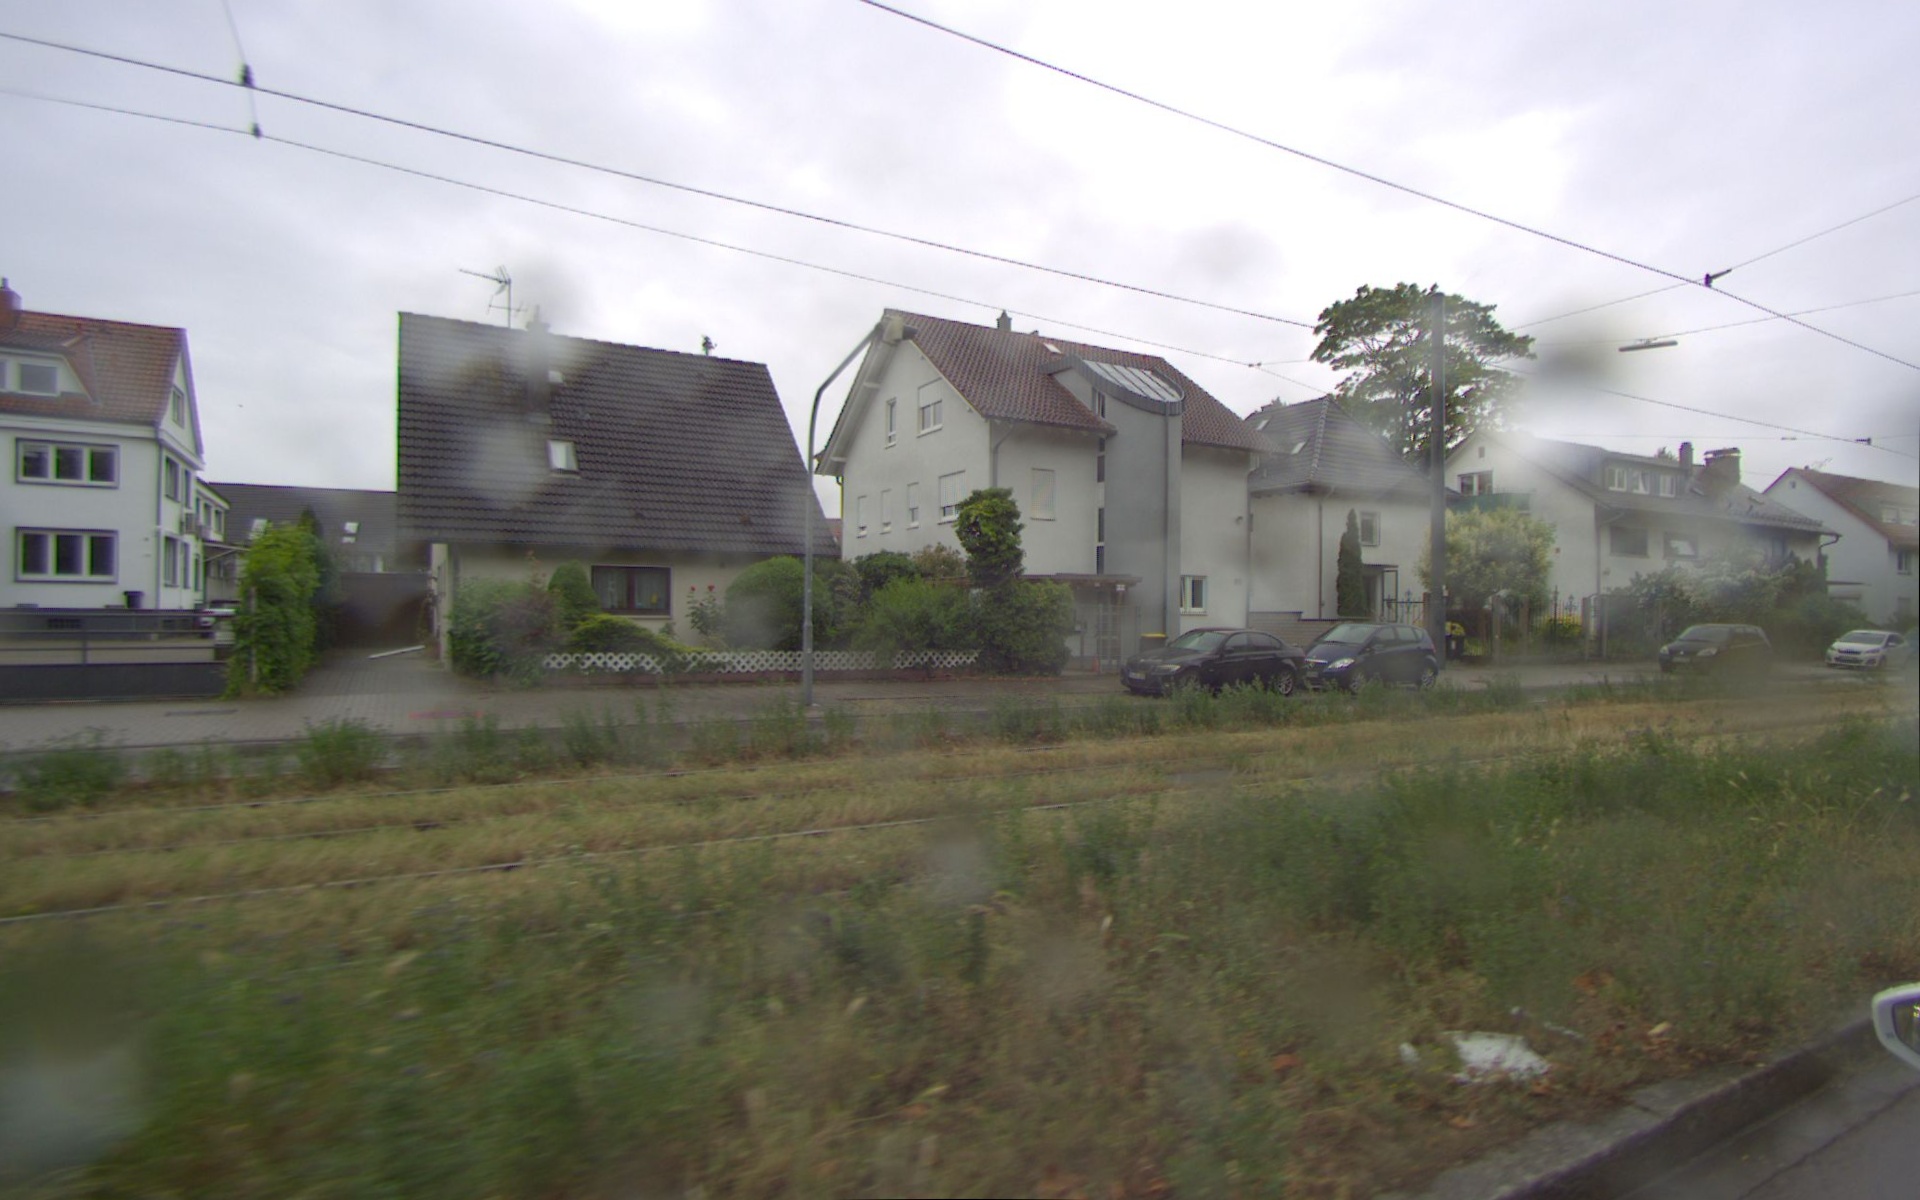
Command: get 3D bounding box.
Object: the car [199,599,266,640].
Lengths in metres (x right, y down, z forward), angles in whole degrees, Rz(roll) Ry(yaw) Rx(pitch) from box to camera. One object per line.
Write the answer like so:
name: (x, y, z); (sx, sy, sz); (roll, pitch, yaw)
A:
car: (-29.341, 0.781, 40.601); (1.940, 1.572, 3.964); (1, -1, -33)

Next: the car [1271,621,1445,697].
car: (9.423, 1.333, 23.764); (3.825, 1.571, 1.864); (1, 1, -31)

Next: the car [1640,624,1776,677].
car: (24.204, 1.581, 32.495); (4.154, 1.536, 1.985); (1, 1, -29)

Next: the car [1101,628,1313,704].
car: (5.306, 1.347, 21.525); (4.188, 1.369, 1.985); (1, 1, -29)

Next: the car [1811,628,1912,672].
car: (34.294, 1.855, 38.215); (3.553, 1.508, 1.788); (1, 1, -29)

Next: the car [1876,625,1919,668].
car: (39.918, 1.905, 41.345); (4.359, 1.635, 1.985); (1, 1, -29)
